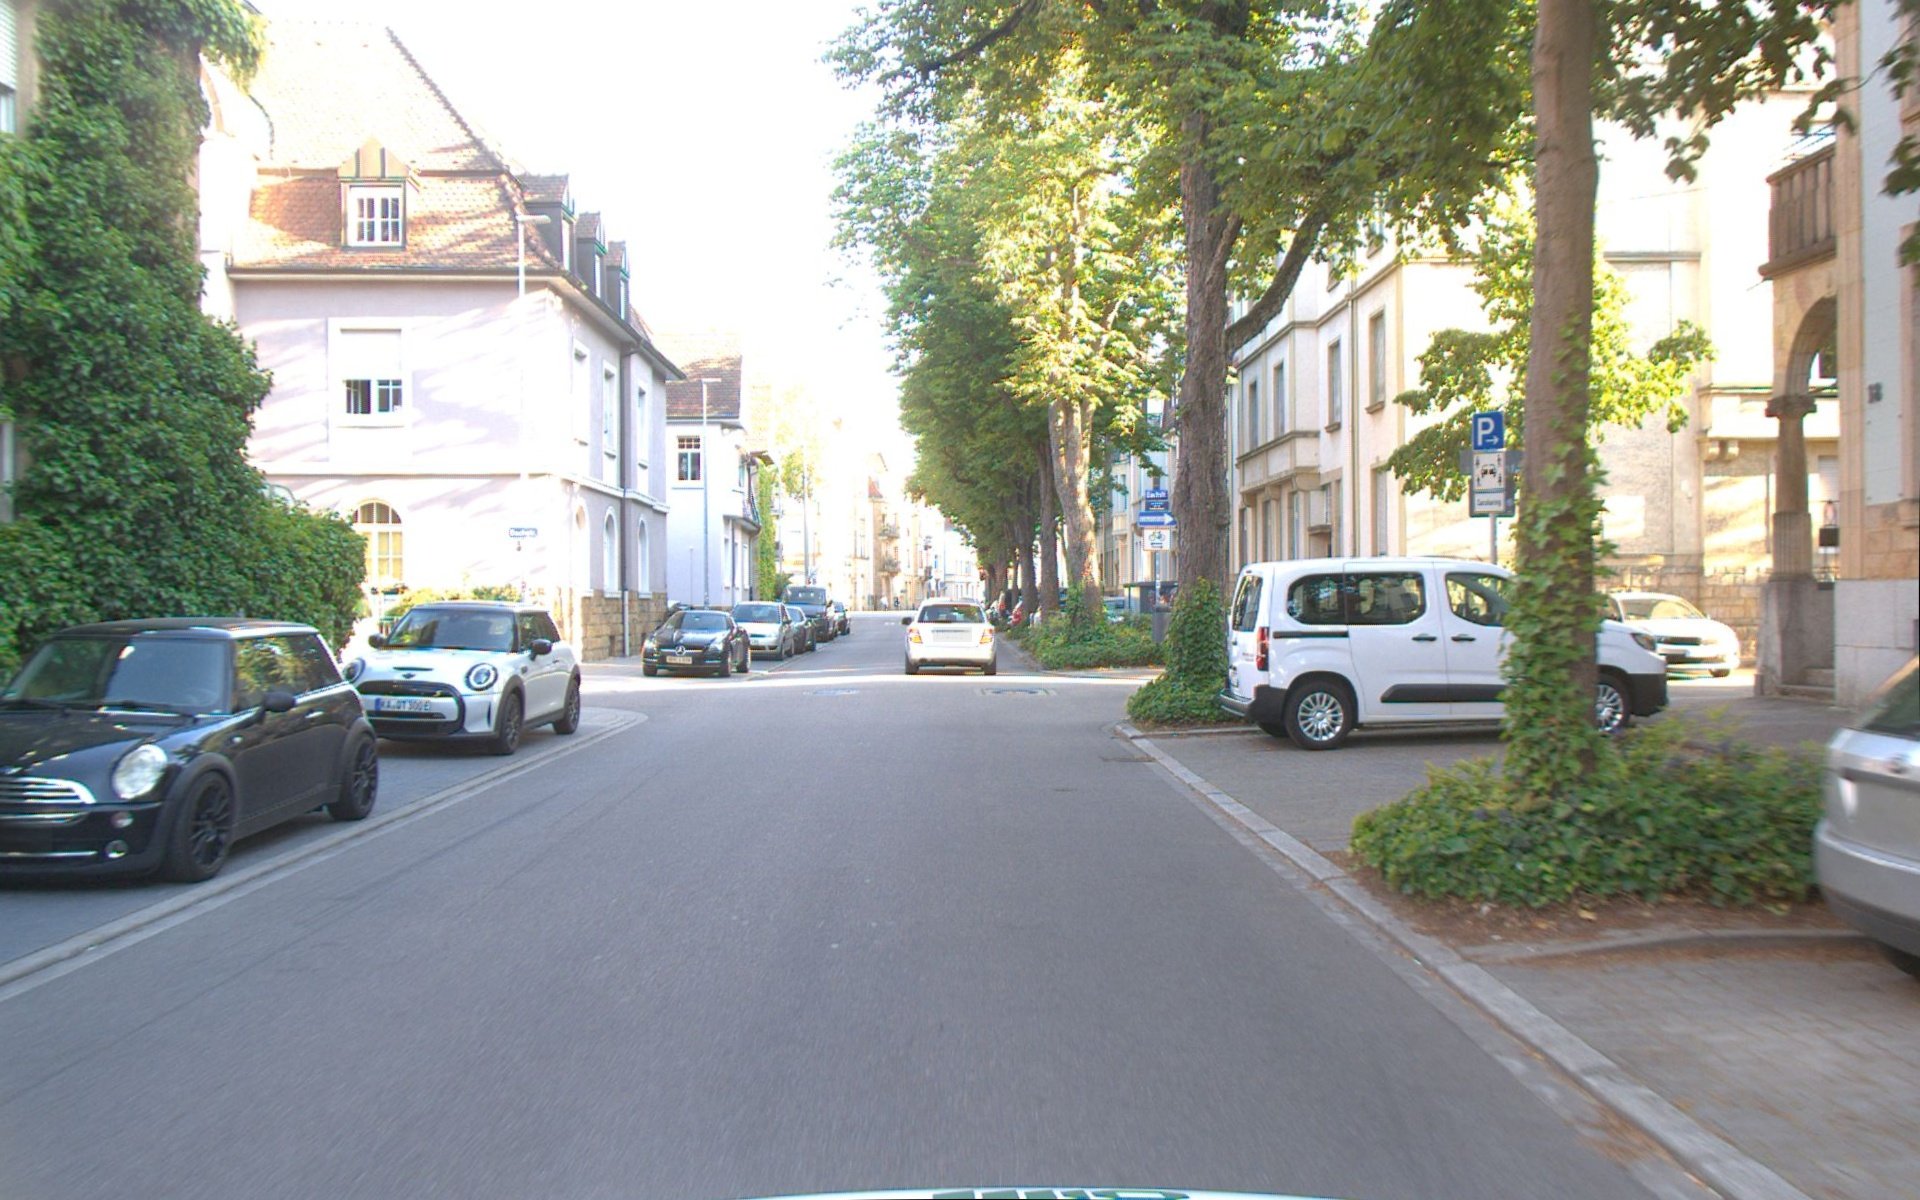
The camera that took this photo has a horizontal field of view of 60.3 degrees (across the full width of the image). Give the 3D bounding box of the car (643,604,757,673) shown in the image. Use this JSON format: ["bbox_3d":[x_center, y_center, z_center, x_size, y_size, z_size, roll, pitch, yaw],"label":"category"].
[{"bbox_3d":[-5.371,0.767,34.580,1.619,1.347,4.046,1,0,1],"label":"car"}]

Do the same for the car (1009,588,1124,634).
[{"bbox_3d":[3.915,0.386,61.273,4.103,1.501,1.852,-2,0,1],"label":"car"}]

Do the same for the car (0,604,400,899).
[{"bbox_3d":[-4.849,0.757,10.030,1.652,1.404,3.720,1,0,-1],"label":"car"}]

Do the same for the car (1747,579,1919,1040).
[{"bbox_3d":[4.942,0.624,5.636,3.672,1.488,1.734,-2,0,-1],"label":"car"}]

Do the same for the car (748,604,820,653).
[{"bbox_3d":[-5.072,0.802,48.079,1.499,1.342,4.227,0,0,2],"label":"car"}]

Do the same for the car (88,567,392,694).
[{"bbox_3d":[-12.217,0.537,28.305,4.313,2.049,1.998,-1,-2,-4],"label":"car"}]

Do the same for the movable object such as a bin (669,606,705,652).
[{"bbox_3d":[-8.011,0.838,48.594,0.707,1.306,2.096,0,0,-1],"label":"movable object such as a bin"}]

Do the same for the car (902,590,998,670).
[{"bbox_3d":[-0.191,0.566,32.310,1.747,1.462,3.850,1,0,0],"label":"car"}]

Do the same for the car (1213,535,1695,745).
[{"bbox_3d":[4.861,0.370,16.748,4.227,1.838,2.000,-2,0,-1],"label":"car"}]

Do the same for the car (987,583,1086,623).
[{"bbox_3d":[3.918,0.126,85.130,4.952,2.024,2.071,0,0,-3],"label":"car"}]

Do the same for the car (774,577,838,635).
[{"bbox_3d":[-5.530,0.197,59.957,1.942,1.981,4.850,1,0,-2],"label":"car"}]

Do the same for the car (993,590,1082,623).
[{"bbox_3d":[3.753,0.292,80.882,4.202,1.568,1.876,0,0,-3],"label":"car"}]

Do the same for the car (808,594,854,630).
[{"bbox_3d":[-5.494,0.508,71.049,1.660,1.472,4.357,1,0,-1],"label":"car"}]

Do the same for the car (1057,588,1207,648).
[{"bbox_3d":[4.583,0.460,44.315,3.719,1.463,1.747,-2,0,-5],"label":"car"}]

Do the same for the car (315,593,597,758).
[{"bbox_3d":[-5.062,0.683,17.161,1.669,1.486,3.918,1,0,1],"label":"car"}]

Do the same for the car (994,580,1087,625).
[{"bbox_3d":[3.774,0.125,77.867,4.135,1.929,1.904,-2,0,-3],"label":"car"}]

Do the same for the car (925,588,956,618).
[{"bbox_3d":[-1.041,0.149,89.807,1.590,1.597,3.680,0,0,0],"label":"car"}]

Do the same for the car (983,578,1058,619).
[{"bbox_3d":[3.571,-0.112,97.967,4.301,2.405,1.999,0,0,-3],"label":"car"}]

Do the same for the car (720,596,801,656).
[{"bbox_3d":[-5.188,0.639,43.351,1.619,1.471,3.960,1,0,0],"label":"car"}]

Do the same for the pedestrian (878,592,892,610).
[{"bbox_3d":[-7.308,0.083,160.889,1.195,1.752,1.504,1,0,2],"label":"pedestrian"}]

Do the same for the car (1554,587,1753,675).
[{"bbox_3d":[12.598,0.516,30.349,1.747,1.433,4.468,-1,1,0],"label":"car"}]
